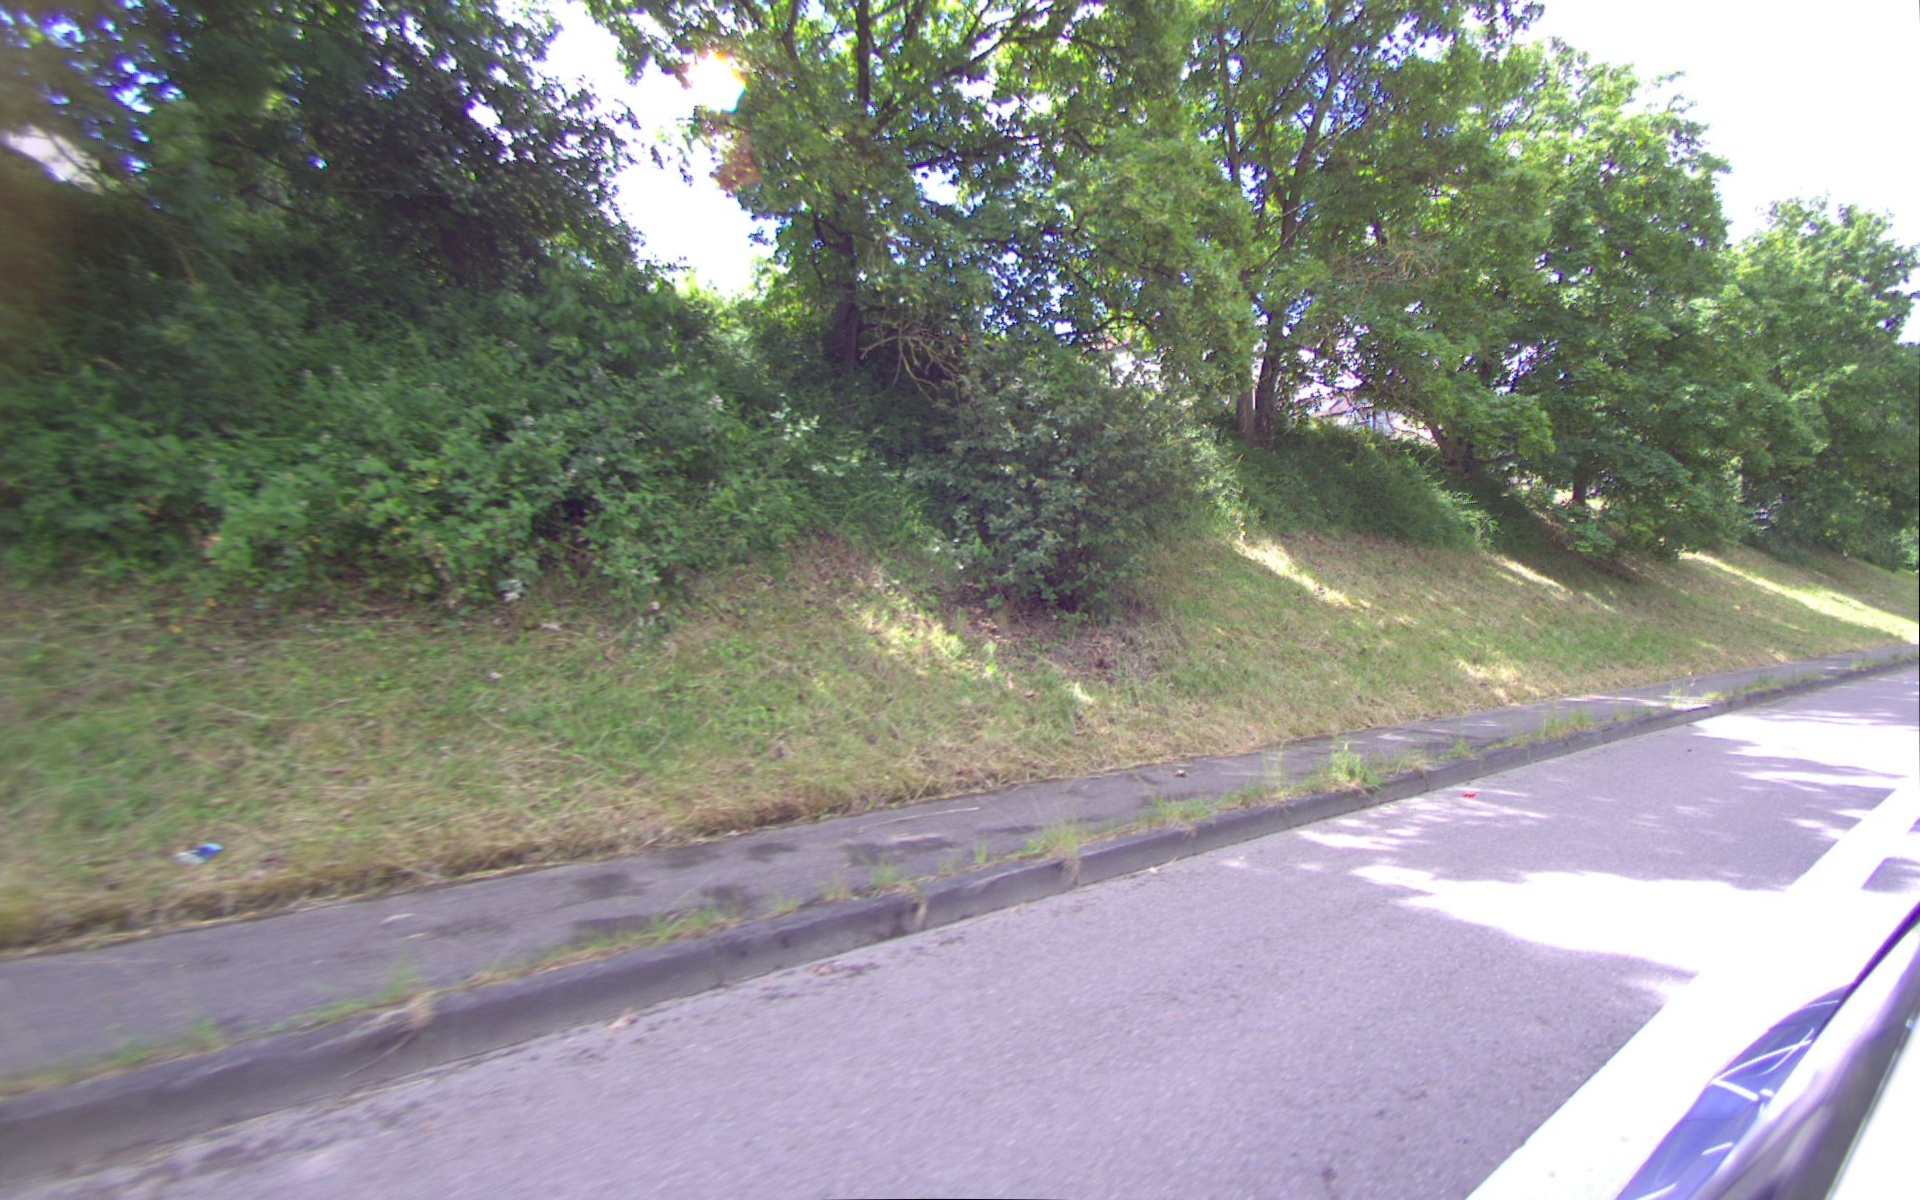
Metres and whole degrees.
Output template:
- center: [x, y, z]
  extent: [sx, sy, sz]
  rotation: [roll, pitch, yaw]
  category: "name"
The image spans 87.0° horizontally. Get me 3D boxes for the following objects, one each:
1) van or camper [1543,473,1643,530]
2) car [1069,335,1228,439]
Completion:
- center: [29.208, -4.466, 46.583]
  extent: [6.054, 2.096, 2.220]
  rotation: [0, 0, -41]
  category: "van or camper"
- center: [4.582, -5.030, 24.328]
  extent: [3.971, 1.708, 1.647]
  rotation: [0, 0, -40]
  category: "car"
